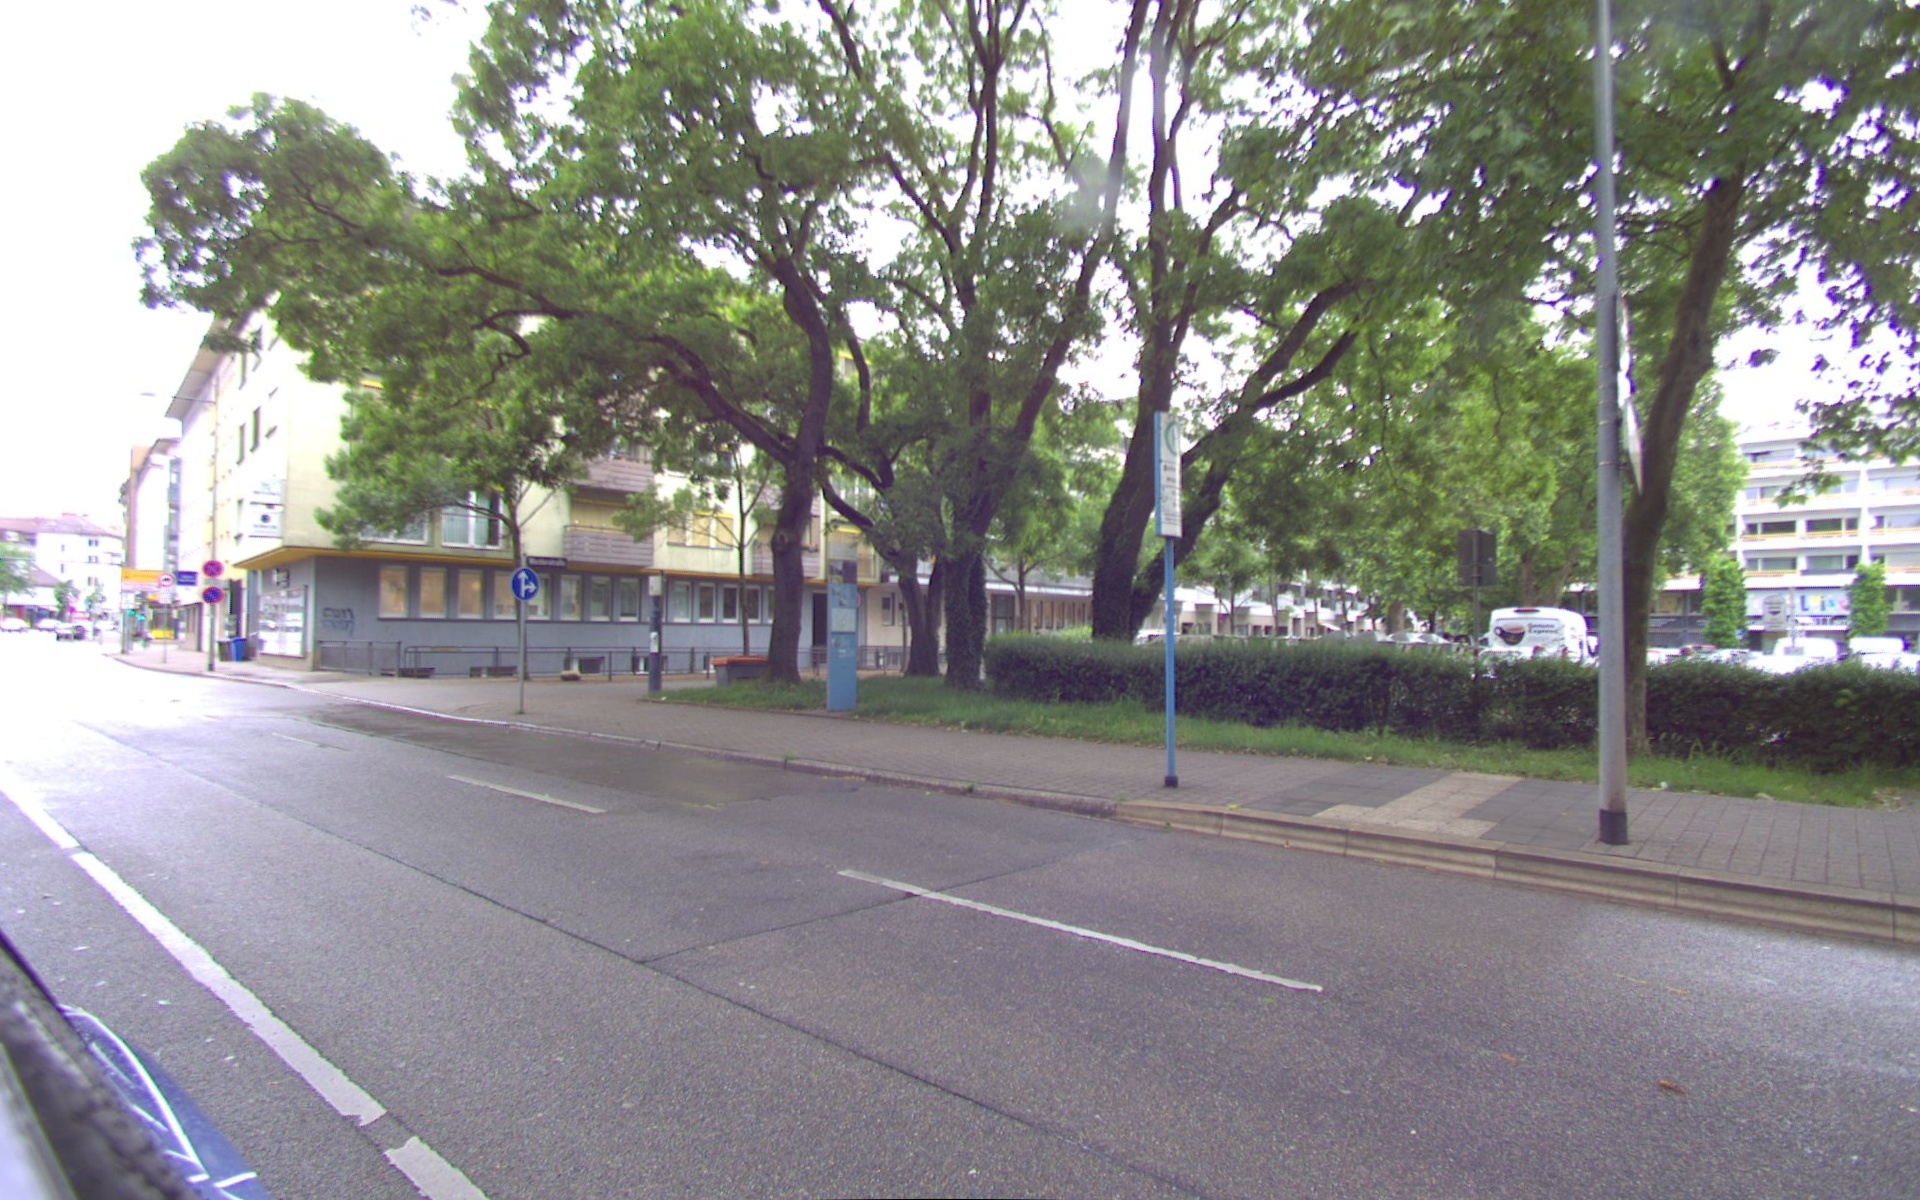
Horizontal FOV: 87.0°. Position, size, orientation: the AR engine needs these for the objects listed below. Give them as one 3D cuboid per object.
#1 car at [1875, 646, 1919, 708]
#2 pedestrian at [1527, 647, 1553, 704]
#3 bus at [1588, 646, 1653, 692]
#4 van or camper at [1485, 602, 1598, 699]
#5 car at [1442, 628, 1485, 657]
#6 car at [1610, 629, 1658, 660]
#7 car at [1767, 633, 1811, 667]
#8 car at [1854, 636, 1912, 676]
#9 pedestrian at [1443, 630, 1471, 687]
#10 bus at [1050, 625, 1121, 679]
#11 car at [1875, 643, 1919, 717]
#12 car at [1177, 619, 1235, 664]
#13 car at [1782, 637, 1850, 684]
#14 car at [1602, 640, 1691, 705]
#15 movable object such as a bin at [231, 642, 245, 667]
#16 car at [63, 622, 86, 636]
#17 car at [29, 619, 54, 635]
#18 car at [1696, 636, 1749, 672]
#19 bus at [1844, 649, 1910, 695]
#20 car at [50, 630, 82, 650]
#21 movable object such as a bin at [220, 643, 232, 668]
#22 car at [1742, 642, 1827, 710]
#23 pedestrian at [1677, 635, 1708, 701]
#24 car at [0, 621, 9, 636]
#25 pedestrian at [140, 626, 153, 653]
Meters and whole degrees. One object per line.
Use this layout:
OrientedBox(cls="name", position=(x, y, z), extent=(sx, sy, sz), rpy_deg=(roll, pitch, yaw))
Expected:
OrientedBox(cls="car", position=(23.414, 1.867, 24.808), extent=(1.391, 1.446, 3.227), rpy_deg=(-2, -4, 41))
OrientedBox(cls="pedestrian", position=(12.939, 1.672, 22.561), extent=(0.465, 1.222, 0.433), rpy_deg=(-1, 0, 34))
OrientedBox(cls="bus", position=(24.154, 2.491, 36.975), extent=(1.604, 1.551, 3.385), rpy_deg=(-1, -3, 40))
OrientedBox(cls="van or camper", position=(16.845, 1.442, 29.213), extent=(2.097, 2.556, 4.367), rpy_deg=(-1, -3, 40))
OrientedBox(cls="car", position=(27.201, 2.289, 54.606), extent=(1.428, 1.439, 2.926), rpy_deg=(-2, -1, 40))
OrientedBox(cls="car", position=(32.464, 2.155, 48.732), extent=(1.604, 1.439, 3.275), rpy_deg=(-1, -3, 40))
OrientedBox(cls="car", position=(41.984, 2.498, 51.302), extent=(1.639, 1.536, 3.161), rpy_deg=(-1, 0, 38))
OrientedBox(cls="car", position=(40.500, 2.419, 44.461), extent=(1.639, 1.536, 3.161), rpy_deg=(-1, 0, 38))
OrientedBox(cls="pedestrian", position=(10.916, 1.271, 22.244), extent=(0.484, 1.222, 0.433), rpy_deg=(-1, 0, 34))
OrientedBox(cls="bus", position=(4.836, 1.986, 38.689), extent=(1.703, 1.939, 3.697), rpy_deg=(0, -3, 24))
OrientedBox(cls="car", position=(19.927, 1.634, 20.946), extent=(1.391, 1.446, 3.227), rpy_deg=(-2, -4, 41))
OrientedBox(cls="car", position=(11.757, 1.977, 48.195), extent=(1.988, 2.029, 3.967), rpy_deg=(0, -3, 24))
OrientedBox(cls="car", position=(28.172, 1.962, 33.354), extent=(1.604, 1.439, 3.275), rpy_deg=(-1, -3, 40))
OrientedBox(cls="car", position=(16.731, 1.732, 24.623), extent=(1.391, 1.446, 3.227), rpy_deg=(-2, -4, 41))
OrientedBox(cls="movable object such as a bin", position=(-29.892, 2.254, 41.910), extent=(0.409, 1.037, 0.354), rpy_deg=(3, -4, -42))
OrientedBox(cls="car", position=(-110.434, 3.598, 126.175), extent=(4.002, 1.670, 1.842), rpy_deg=(-2, -4, 45))
OrientedBox(cls="car", position=(-113.091, 3.370, 124.614), extent=(4.002, 1.866, 1.971), rpy_deg=(-2, -4, 45))
OrientedBox(cls="car", position=(35.719, 2.482, 47.365), extent=(1.837, 1.435, 3.780), rpy_deg=(-1, 0, 39))
OrientedBox(cls="bus", position=(33.156, 2.572, 36.659), extent=(1.604, 1.551, 3.385), rpy_deg=(-1, -3, 40))
OrientedBox(cls="car", position=(-82.285, 3.678, 93.141), extent=(4.002, 1.730, 1.863), rpy_deg=(-2, -4, 45))
OrientedBox(cls="movable object such as a bin", position=(-30.234, 2.281, 41.669), extent=(0.333, 1.037, 0.354), rpy_deg=(3, -4, -42))
OrientedBox(cls="car", position=(19.236, 1.735, 23.567), extent=(1.391, 1.446, 3.227), rpy_deg=(-2, -4, 41))
OrientedBox(cls="pedestrian", position=(14.153, 1.302, 19.560), extent=(0.465, 1.222, 0.433), rpy_deg=(-1, 0, 34))
OrientedBox(cls="car", position=(-109.166, 3.180, 114.648), extent=(4.002, 1.653, 1.971), rpy_deg=(-2, -4, 45))
OrientedBox(cls="pedestrian", position=(-56.868, 2.785, 70.753), extent=(0.586, 1.858, 0.565), rpy_deg=(3, -4, -42))
